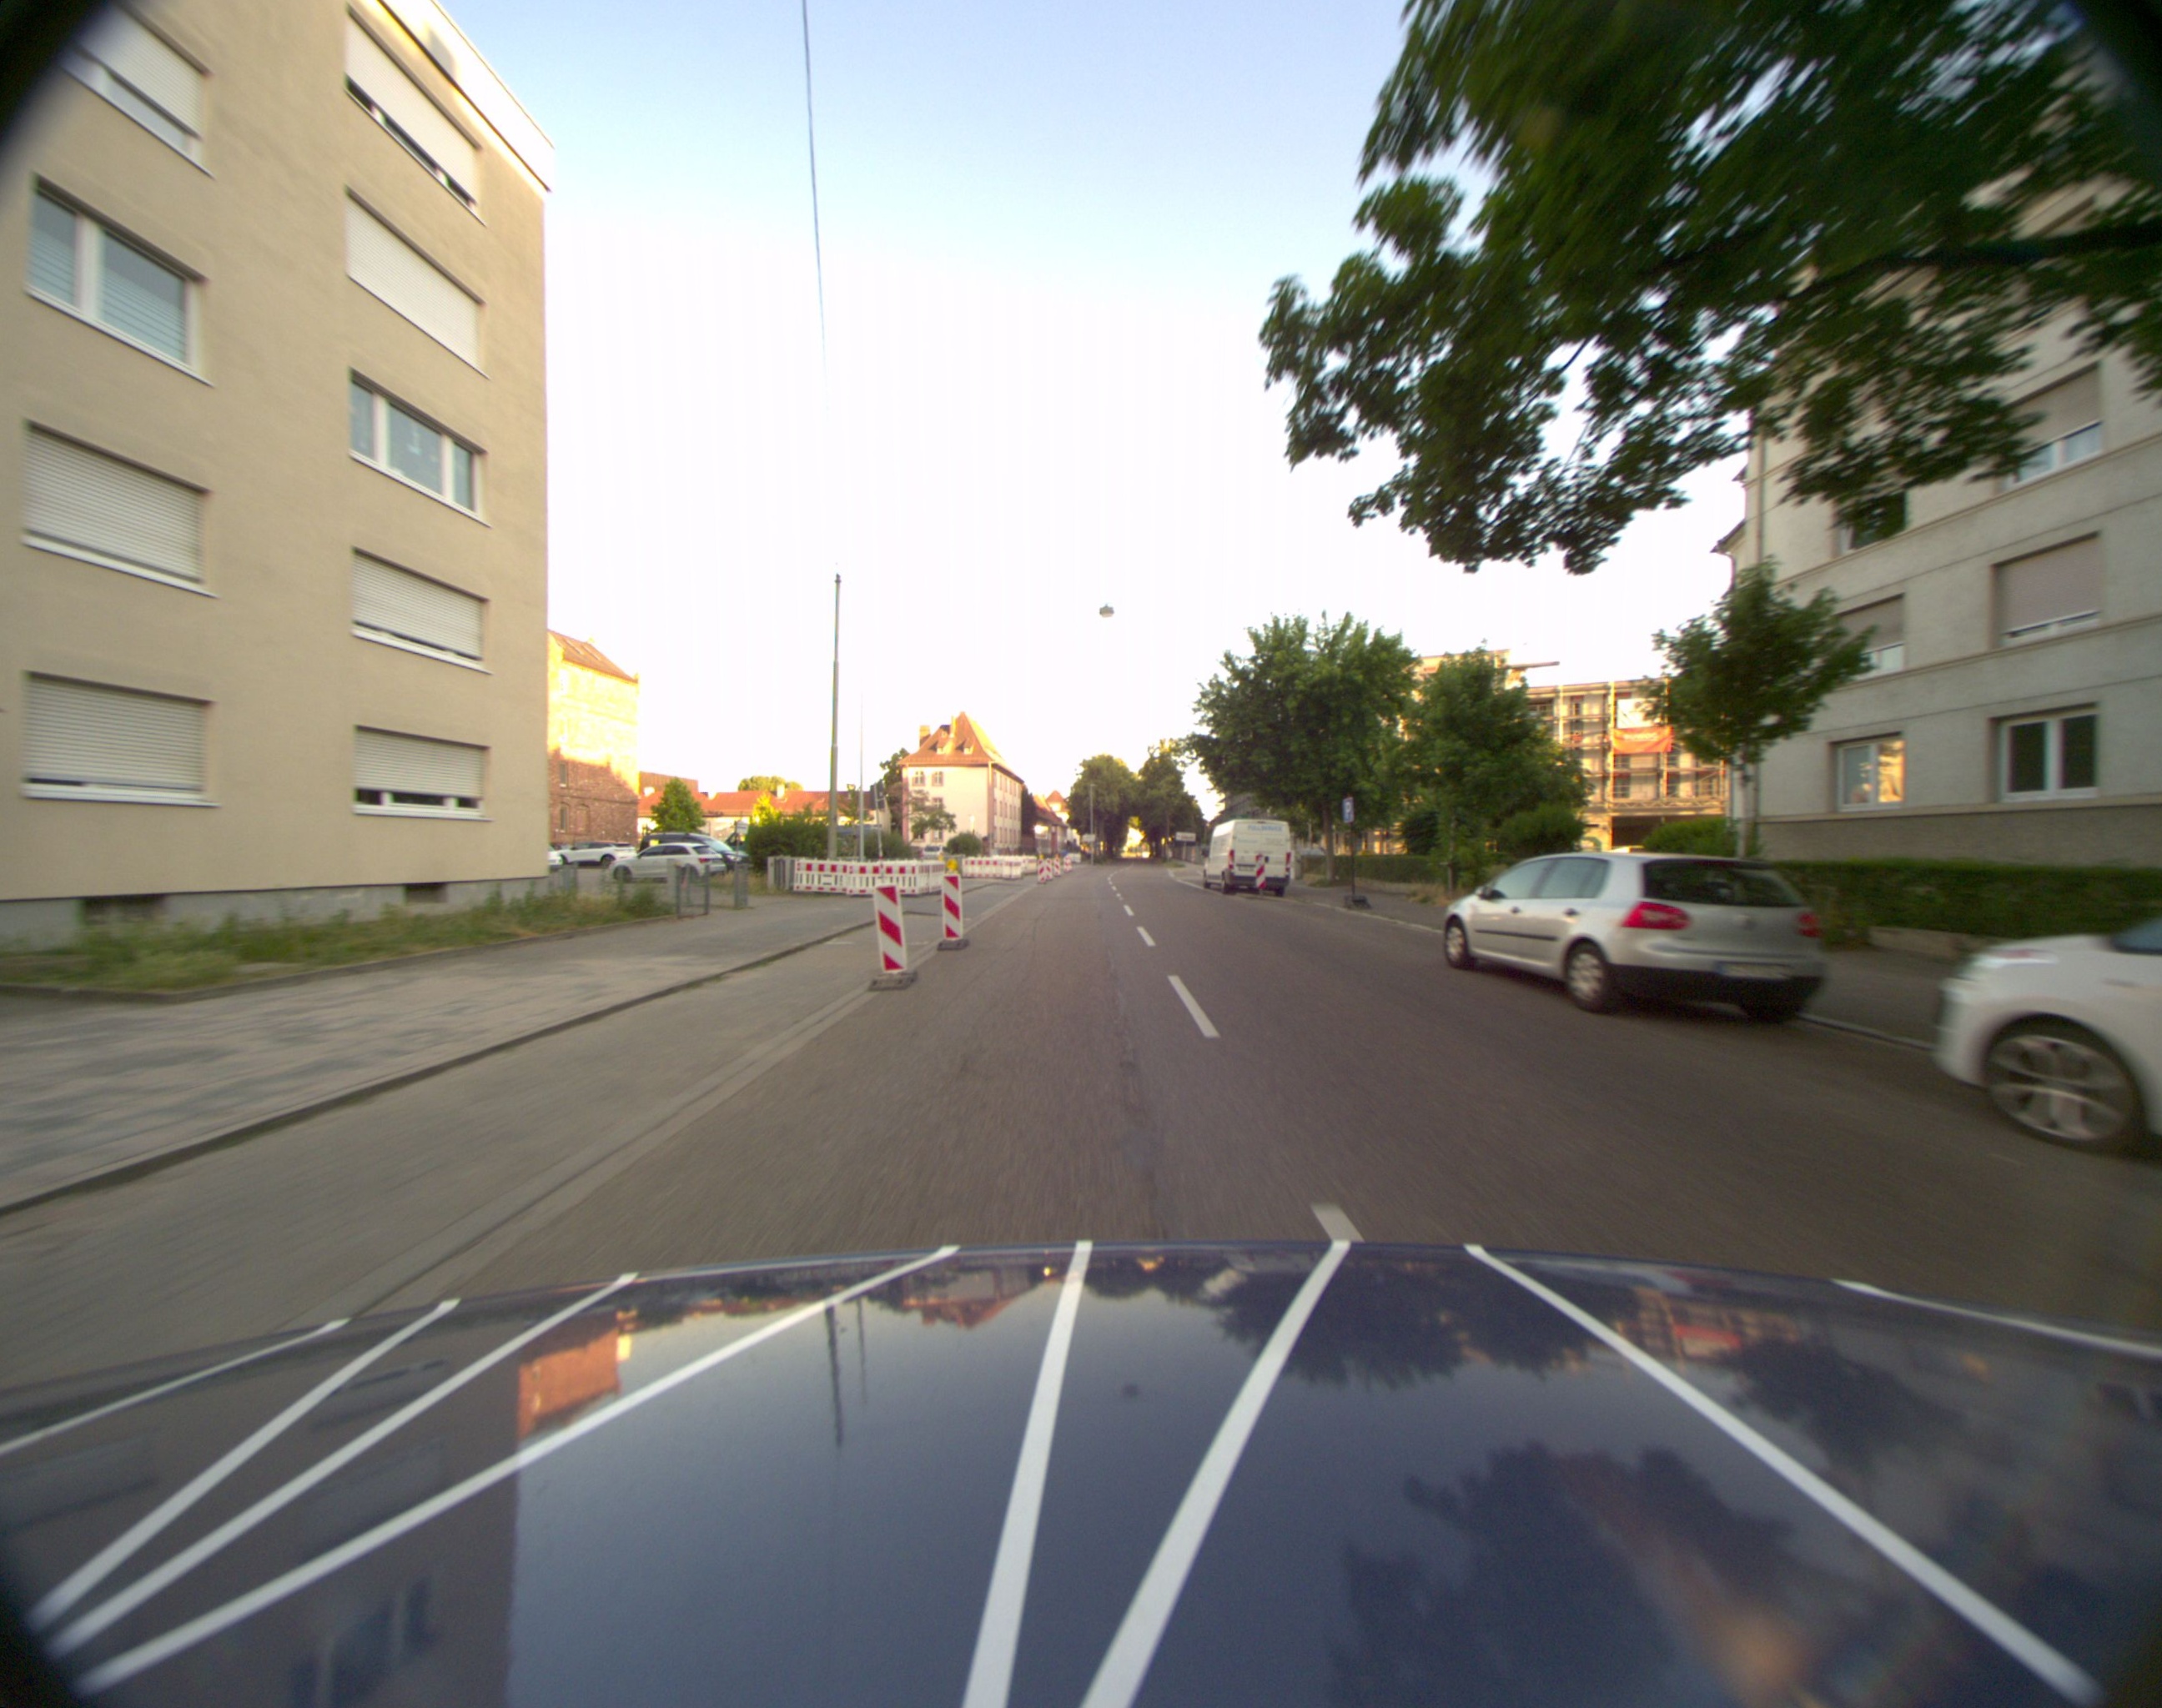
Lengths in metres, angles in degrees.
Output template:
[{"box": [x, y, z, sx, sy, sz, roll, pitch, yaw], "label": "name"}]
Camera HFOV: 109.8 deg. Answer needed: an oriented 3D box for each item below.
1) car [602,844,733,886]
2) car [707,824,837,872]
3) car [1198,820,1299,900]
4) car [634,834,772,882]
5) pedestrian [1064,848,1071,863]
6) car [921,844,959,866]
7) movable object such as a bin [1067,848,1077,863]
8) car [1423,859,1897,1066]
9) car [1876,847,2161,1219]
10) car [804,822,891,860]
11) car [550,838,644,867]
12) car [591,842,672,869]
[{"box": [-14.912, 0.383, 27.527, 3.839, 1.444, 1.695, 0, 1, 3], "label": "car"}, {"box": [-14.223, -0.246, 35.141, 5.030, 2.117, 2.291, 0, 1, 8], "label": "car"}, {"box": [5.821, 0.170, 27.318, 2.184, 2.447, 6.102, 3, 0, 0], "label": "car"}, {"box": [-14.947, 0.129, 30.182, 4.489, 1.800, 2.005, 0, 1, 3], "label": "car"}, {"box": [-1.411, 0.169, 79.835, 0.716, 1.600, 0.518, 0, 1, -4], "label": "pedestrian"}, {"box": [-10.929, 0.059, 59.149, 1.919, 1.620, 4.808, 0, 0, 1], "label": "car"}, {"box": [-0.973, 0.147, 80.701, 0.977, 1.600, 0.634, 0, 1, -4], "label": "movable object such as a bin"}, {"box": [5.385, 0.846, 7.950, 1.756, 1.463, 4.224, 3, 0, 2], "label": "car"}, {"box": [5.642, 0.829, 2.441, 1.757, 1.622, 4.106, 3, 0, -1], "label": "car"}, {"box": [-13.822, -0.752, 45.136, 4.433, 2.184, 2.001, 0, 1, 5], "label": "car"}, {"box": [-26.366, -0.114, 41.485, 3.926, 1.509, 2.001, 1, 1, 6], "label": "car"}, {"box": [-26.101, 0.076, 44.196, 3.726, 1.509, 1.828, 1, 1, 10], "label": "car"}]
